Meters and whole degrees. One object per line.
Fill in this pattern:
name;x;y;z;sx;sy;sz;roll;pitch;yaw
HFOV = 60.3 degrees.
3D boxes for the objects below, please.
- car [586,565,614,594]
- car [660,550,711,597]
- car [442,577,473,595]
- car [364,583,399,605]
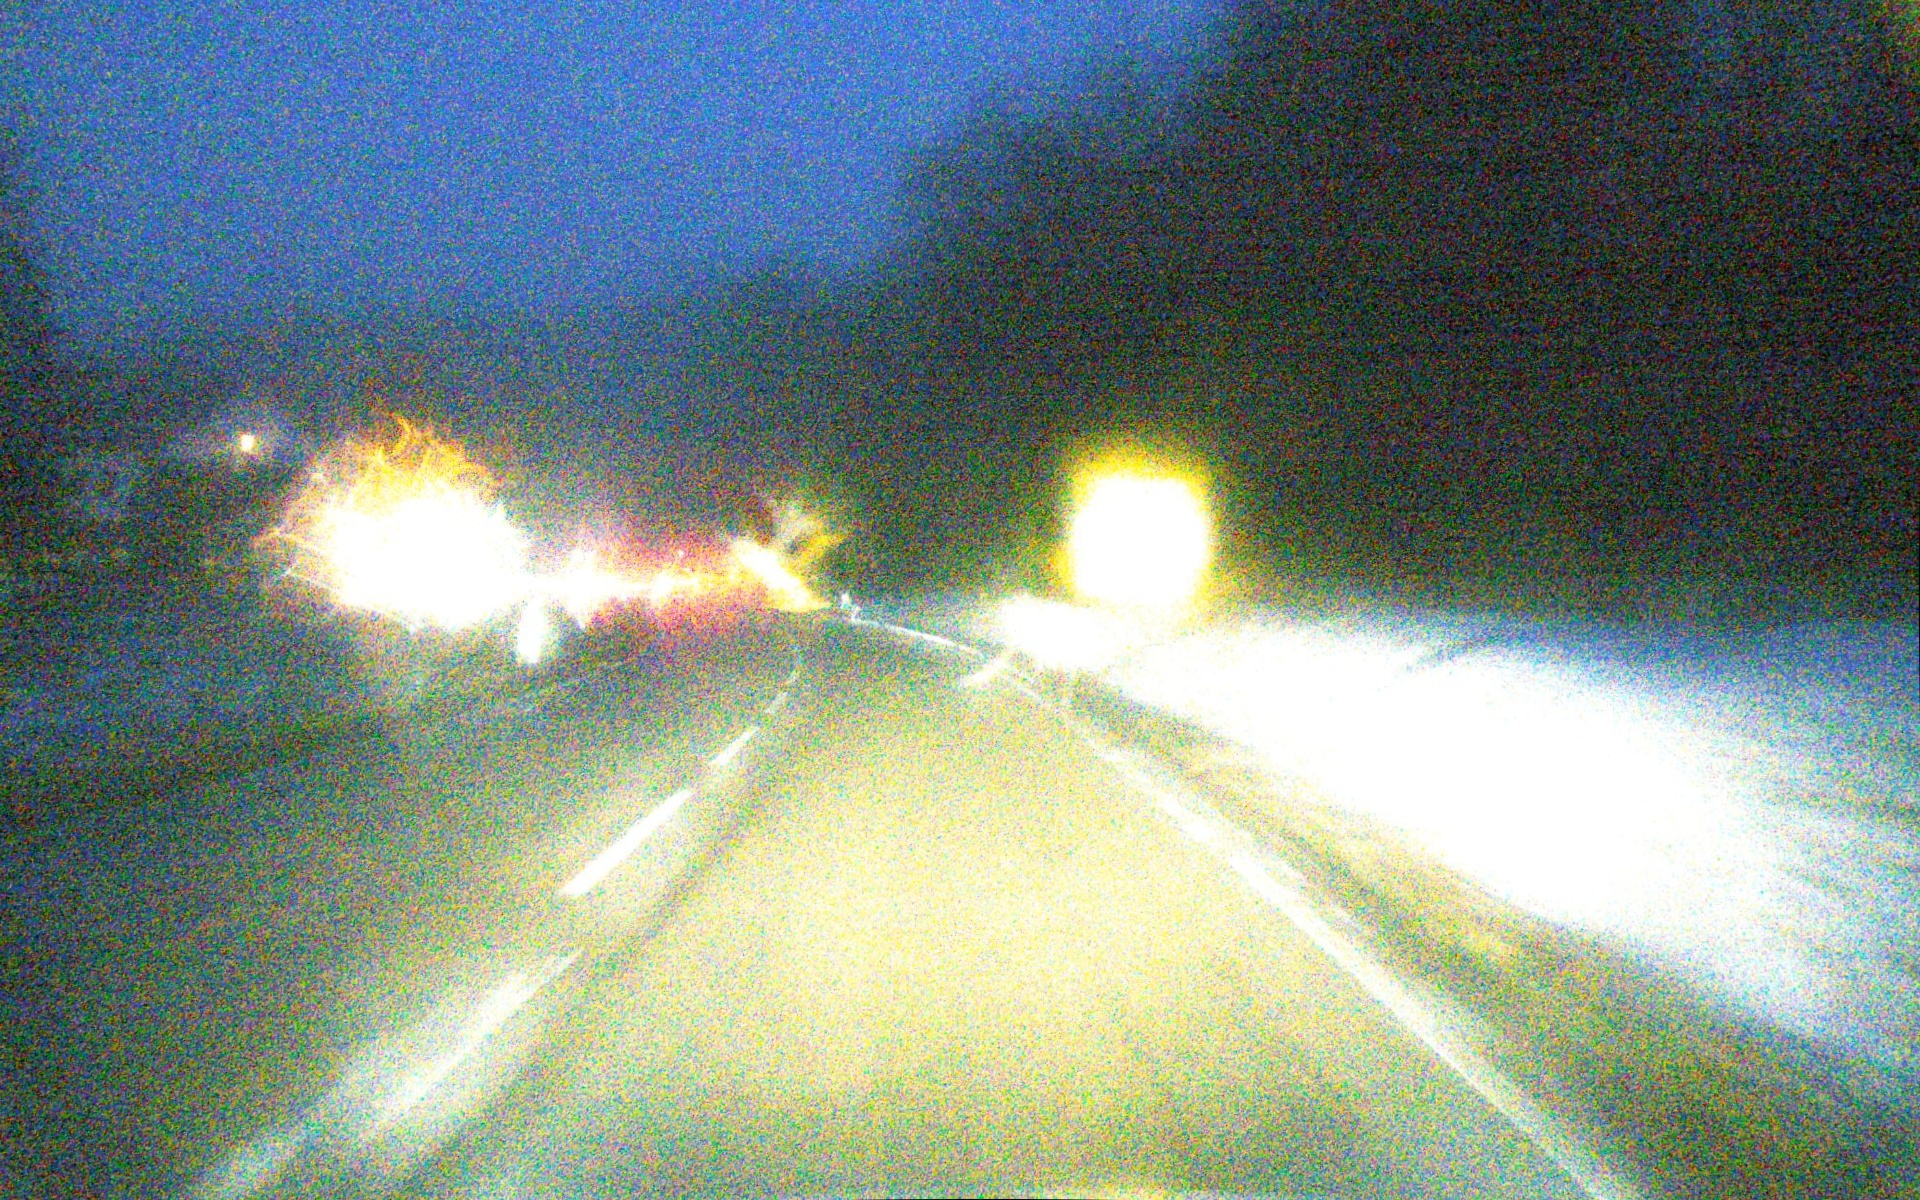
car;-27.173;-1.531;124.800;1.959;2.049;3.987;1;0;-12
car;-16.895;-1.650;101.450;2.497;2.540;5.694;1;4;-15
car;-44.675;-1.260;147.127;1.932;1.548;4.361;1;0;-26
car;-41.834;-0.452;119.690;1.658;1.422;4.141;-2;2;-10
